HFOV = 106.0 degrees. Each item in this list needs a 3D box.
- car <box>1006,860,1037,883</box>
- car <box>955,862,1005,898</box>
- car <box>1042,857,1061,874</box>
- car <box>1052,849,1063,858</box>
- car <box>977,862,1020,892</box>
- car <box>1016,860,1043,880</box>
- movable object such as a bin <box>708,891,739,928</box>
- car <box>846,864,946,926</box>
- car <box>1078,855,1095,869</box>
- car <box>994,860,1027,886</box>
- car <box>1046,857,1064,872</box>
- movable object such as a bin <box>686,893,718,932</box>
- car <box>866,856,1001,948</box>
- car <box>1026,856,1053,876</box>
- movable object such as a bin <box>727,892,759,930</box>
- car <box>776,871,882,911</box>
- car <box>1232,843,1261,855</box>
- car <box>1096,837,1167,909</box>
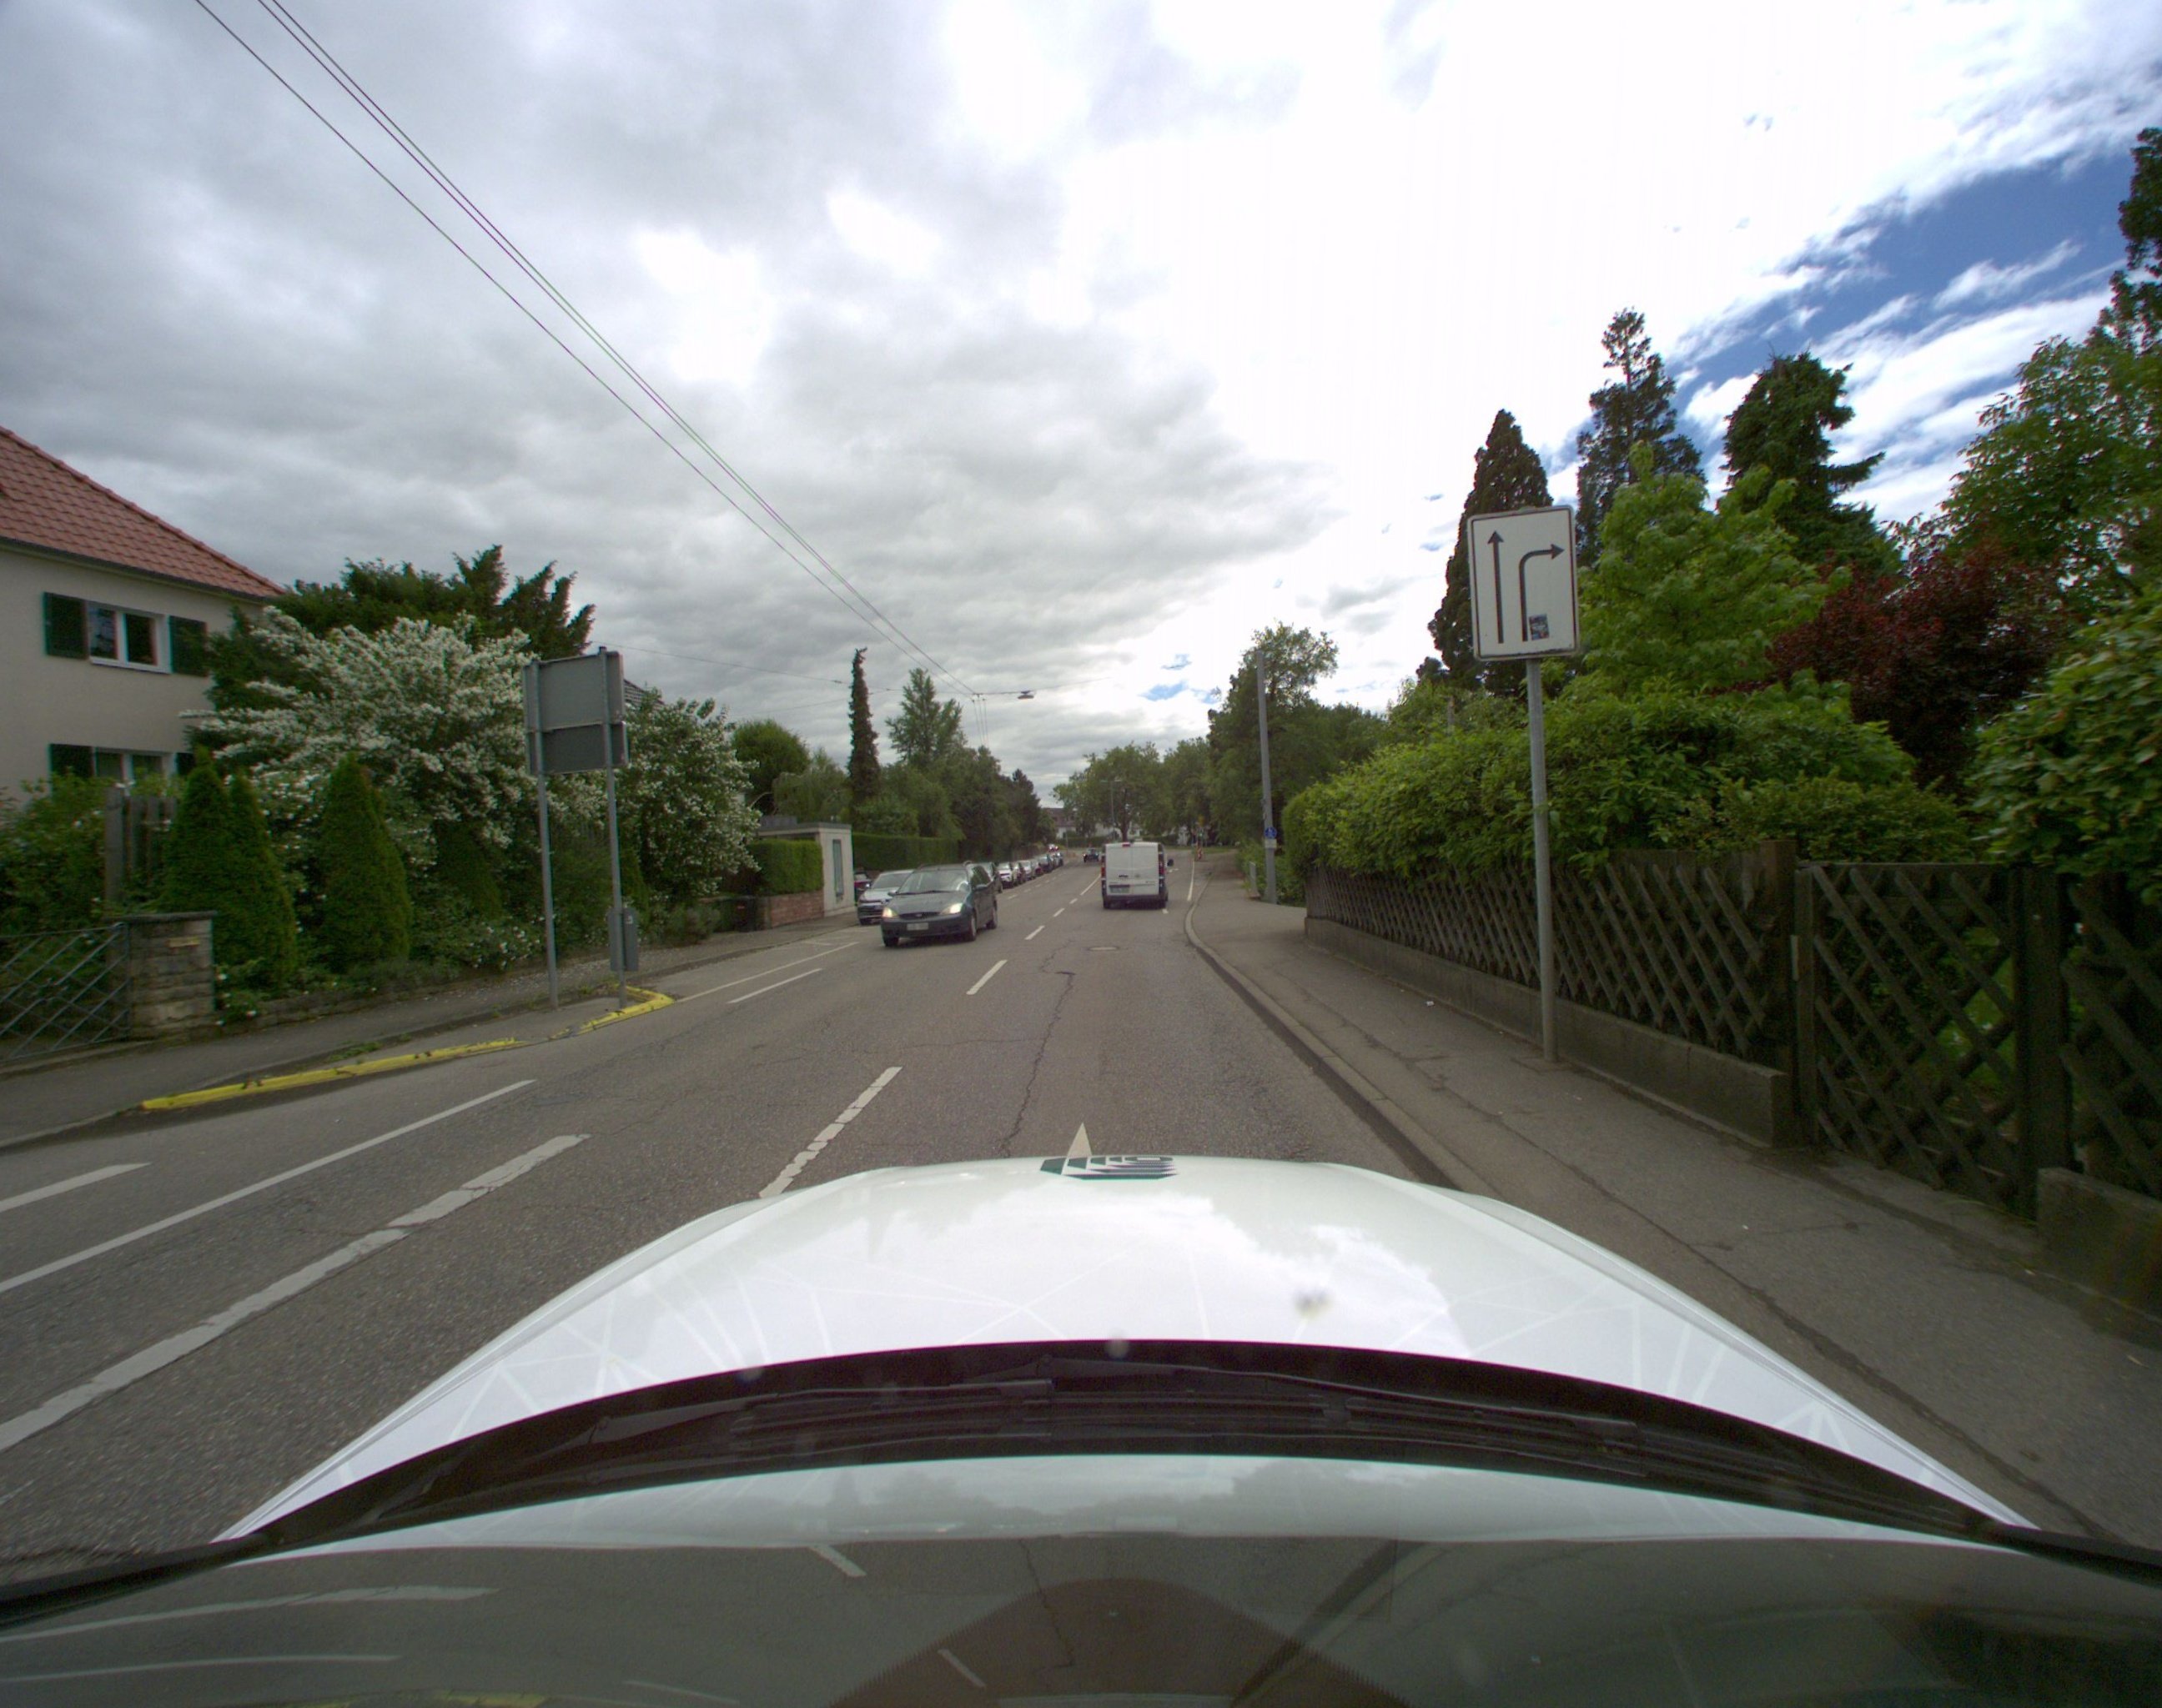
[{"bbox_3d":[-4.227,1.253,58.876,1.663,1.488,4.433,-4,0,2],"label":"car"},{"bbox_3d":[-4.813,1.220,39.202,1.672,1.556,3.973,-4,-1,2],"label":"car"},{"bbox_3d":[-3.224,1.234,89.086,1.666,1.592,4.098,-4,0,2],"label":"car"},{"bbox_3d":[-4.672,-0.102,163.247,1.990,1.587,4.000,-3,0,2],"label":"car"},{"bbox_3d":[-4.729,1.286,47.047,1.883,1.494,4.027,-4,0,1],"label":"car"},{"bbox_3d":[-4.118,1.293,65.681,1.773,1.438,4.001,-3,0,1],"label":"car"},{"bbox_3d":[-9.413,1.455,21.428,0.534,0.942,0.511,-2,-2,14],"label":"movable object such as a bin"},{"bbox_3d":[-5.360,1.135,24.191,1.803,1.455,4.413,-5,0,1],"label":"car"},{"bbox_3d":[0.723,1.011,102.523,1.834,1.647,4.218,-3,-1,5],"label":"car"},{"bbox_3d":[-4.501,1.190,52.554,1.664,1.478,3.911,-4,0,1],"label":"car"},{"bbox_3d":[-2.997,1.166,94.430,1.881,1.625,4.430,-3,0,0],"label":"car"},{"bbox_3d":[-9.682,1.484,20.807,0.445,0.942,0.618,-2,-2,14],"label":"movable object such as a bin"},{"bbox_3d":[-2.837,0.854,16.692,1.727,1.553,4.450,-3,0,2],"label":"car"},{"bbox_3d":[-3.662,1.032,72.660,1.987,1.643,4.466,-3,0,1],"label":"car"},{"bbox_3d":[-8.756,1.475,21.103,0.534,0.942,0.511,-2,-2,14],"label":"movable object such as a bin"},{"bbox_3d":[-10.175,1.470,33.021,3.565,1.391,1.855,-3,0,10],"label":"car"},{"bbox_3d":[28.545,-0.860,140.381,4.756,1.769,1.982,-2,0,-27],"label":"car"},{"bbox_3d":[1.689,0.562,25.613,1.996,2.038,5.018,0,0,6],"label":"car"}]
